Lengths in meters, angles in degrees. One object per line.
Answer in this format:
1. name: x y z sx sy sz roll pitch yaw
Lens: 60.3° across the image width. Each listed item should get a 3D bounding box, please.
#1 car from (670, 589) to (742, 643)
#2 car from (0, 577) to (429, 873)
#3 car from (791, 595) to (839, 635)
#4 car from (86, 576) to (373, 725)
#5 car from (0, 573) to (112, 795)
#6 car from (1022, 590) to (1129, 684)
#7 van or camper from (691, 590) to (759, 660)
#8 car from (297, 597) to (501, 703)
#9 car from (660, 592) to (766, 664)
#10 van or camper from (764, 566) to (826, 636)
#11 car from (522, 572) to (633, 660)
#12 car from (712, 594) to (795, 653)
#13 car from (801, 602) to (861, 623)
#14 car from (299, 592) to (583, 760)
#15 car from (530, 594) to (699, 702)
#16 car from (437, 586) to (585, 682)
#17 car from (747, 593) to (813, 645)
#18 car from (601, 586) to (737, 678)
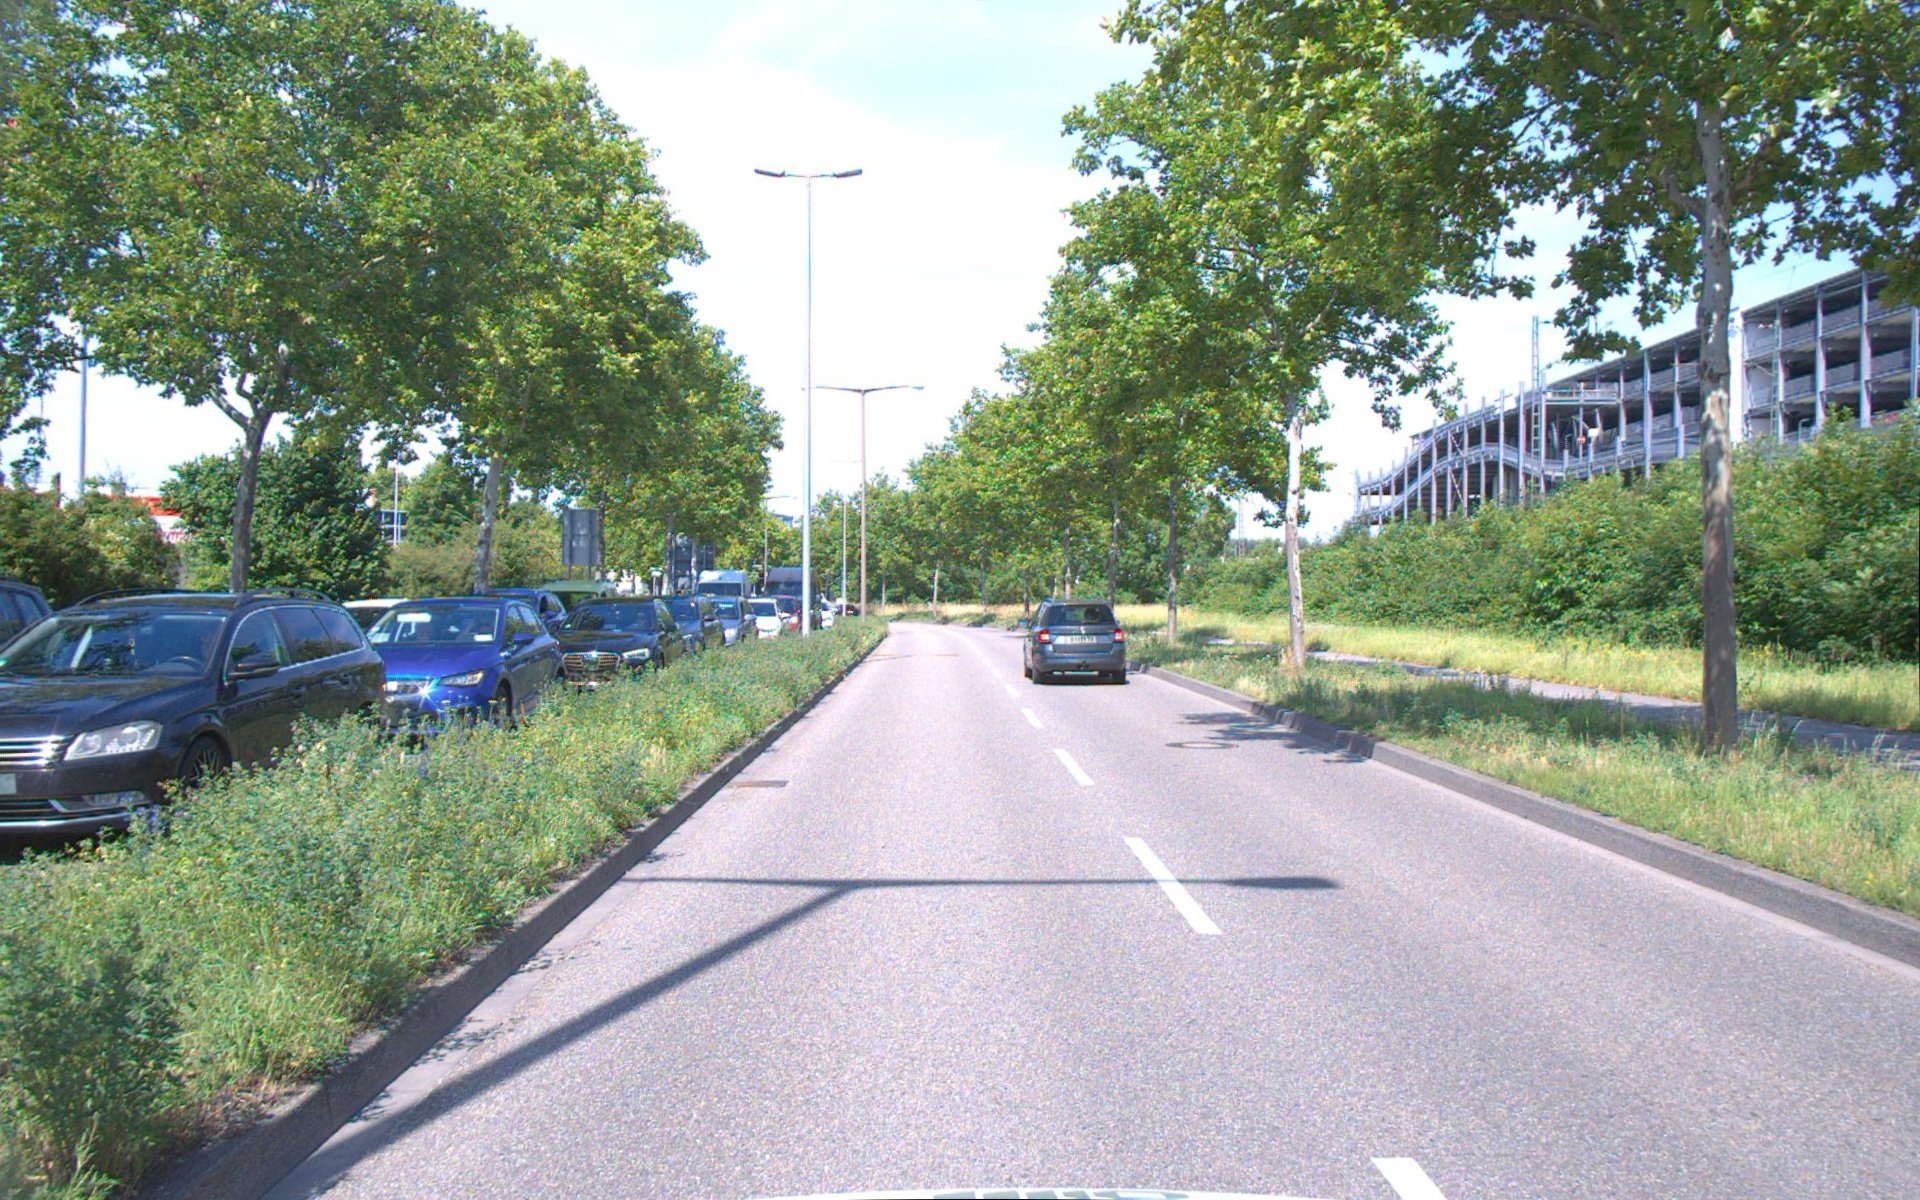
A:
1. car: -8.871 0.539 58.017 1.953 1.786 3.999 -1 0 -1
2. car: -5.192 0.652 11.145 1.722 1.557 4.827 -1 0 -1
3. car: -5.879 0.601 67.354 1.654 1.557 3.813 0 -1 -1
4. car: -8.364 0.517 19.328 1.654 1.557 3.938 0 0 -1
5. car: -8.089 0.641 12.104 1.654 1.675 4.177 0 0 -1
6. car: 2.024 0.618 29.961 1.640 1.478 4.036 4 0 1
7. van or camper: -9.215 0.914 65.311 1.974 2.633 5.516 0 0 -1
8. car: -8.517 0.701 25.523 1.697 1.477 4.428 0 0 -1
9. car: -5.628 0.591 38.200 1.776 1.557 4.641 0 0 -1
10. van or camper: -5.918 0.052 59.853 1.899 2.410 5.395 0 -1 -3
11. car: -8.697 0.363 37.862 1.654 1.891 4.035 0 0 -1
12. car: -5.475 0.593 44.276 1.747 1.484 4.471 0 0 -1
13. car: -10.344 1.014 132.454 4.524 1.488 1.909 2 2 32
14. car: -5.202 0.679 17.155 1.748 1.515 4.209 0 0 -2
15. car: -5.140 0.655 25.157 1.787 1.491 4.448 0 0 -2
16. car: -8.291 0.573 30.898 1.654 1.660 4.310 0 0 -1
17. car: -5.472 0.556 50.700 1.654 1.537 3.814 0 0 -1
18. car: -5.525 0.553 31.976 1.809 1.635 5.007 0 0 -1
